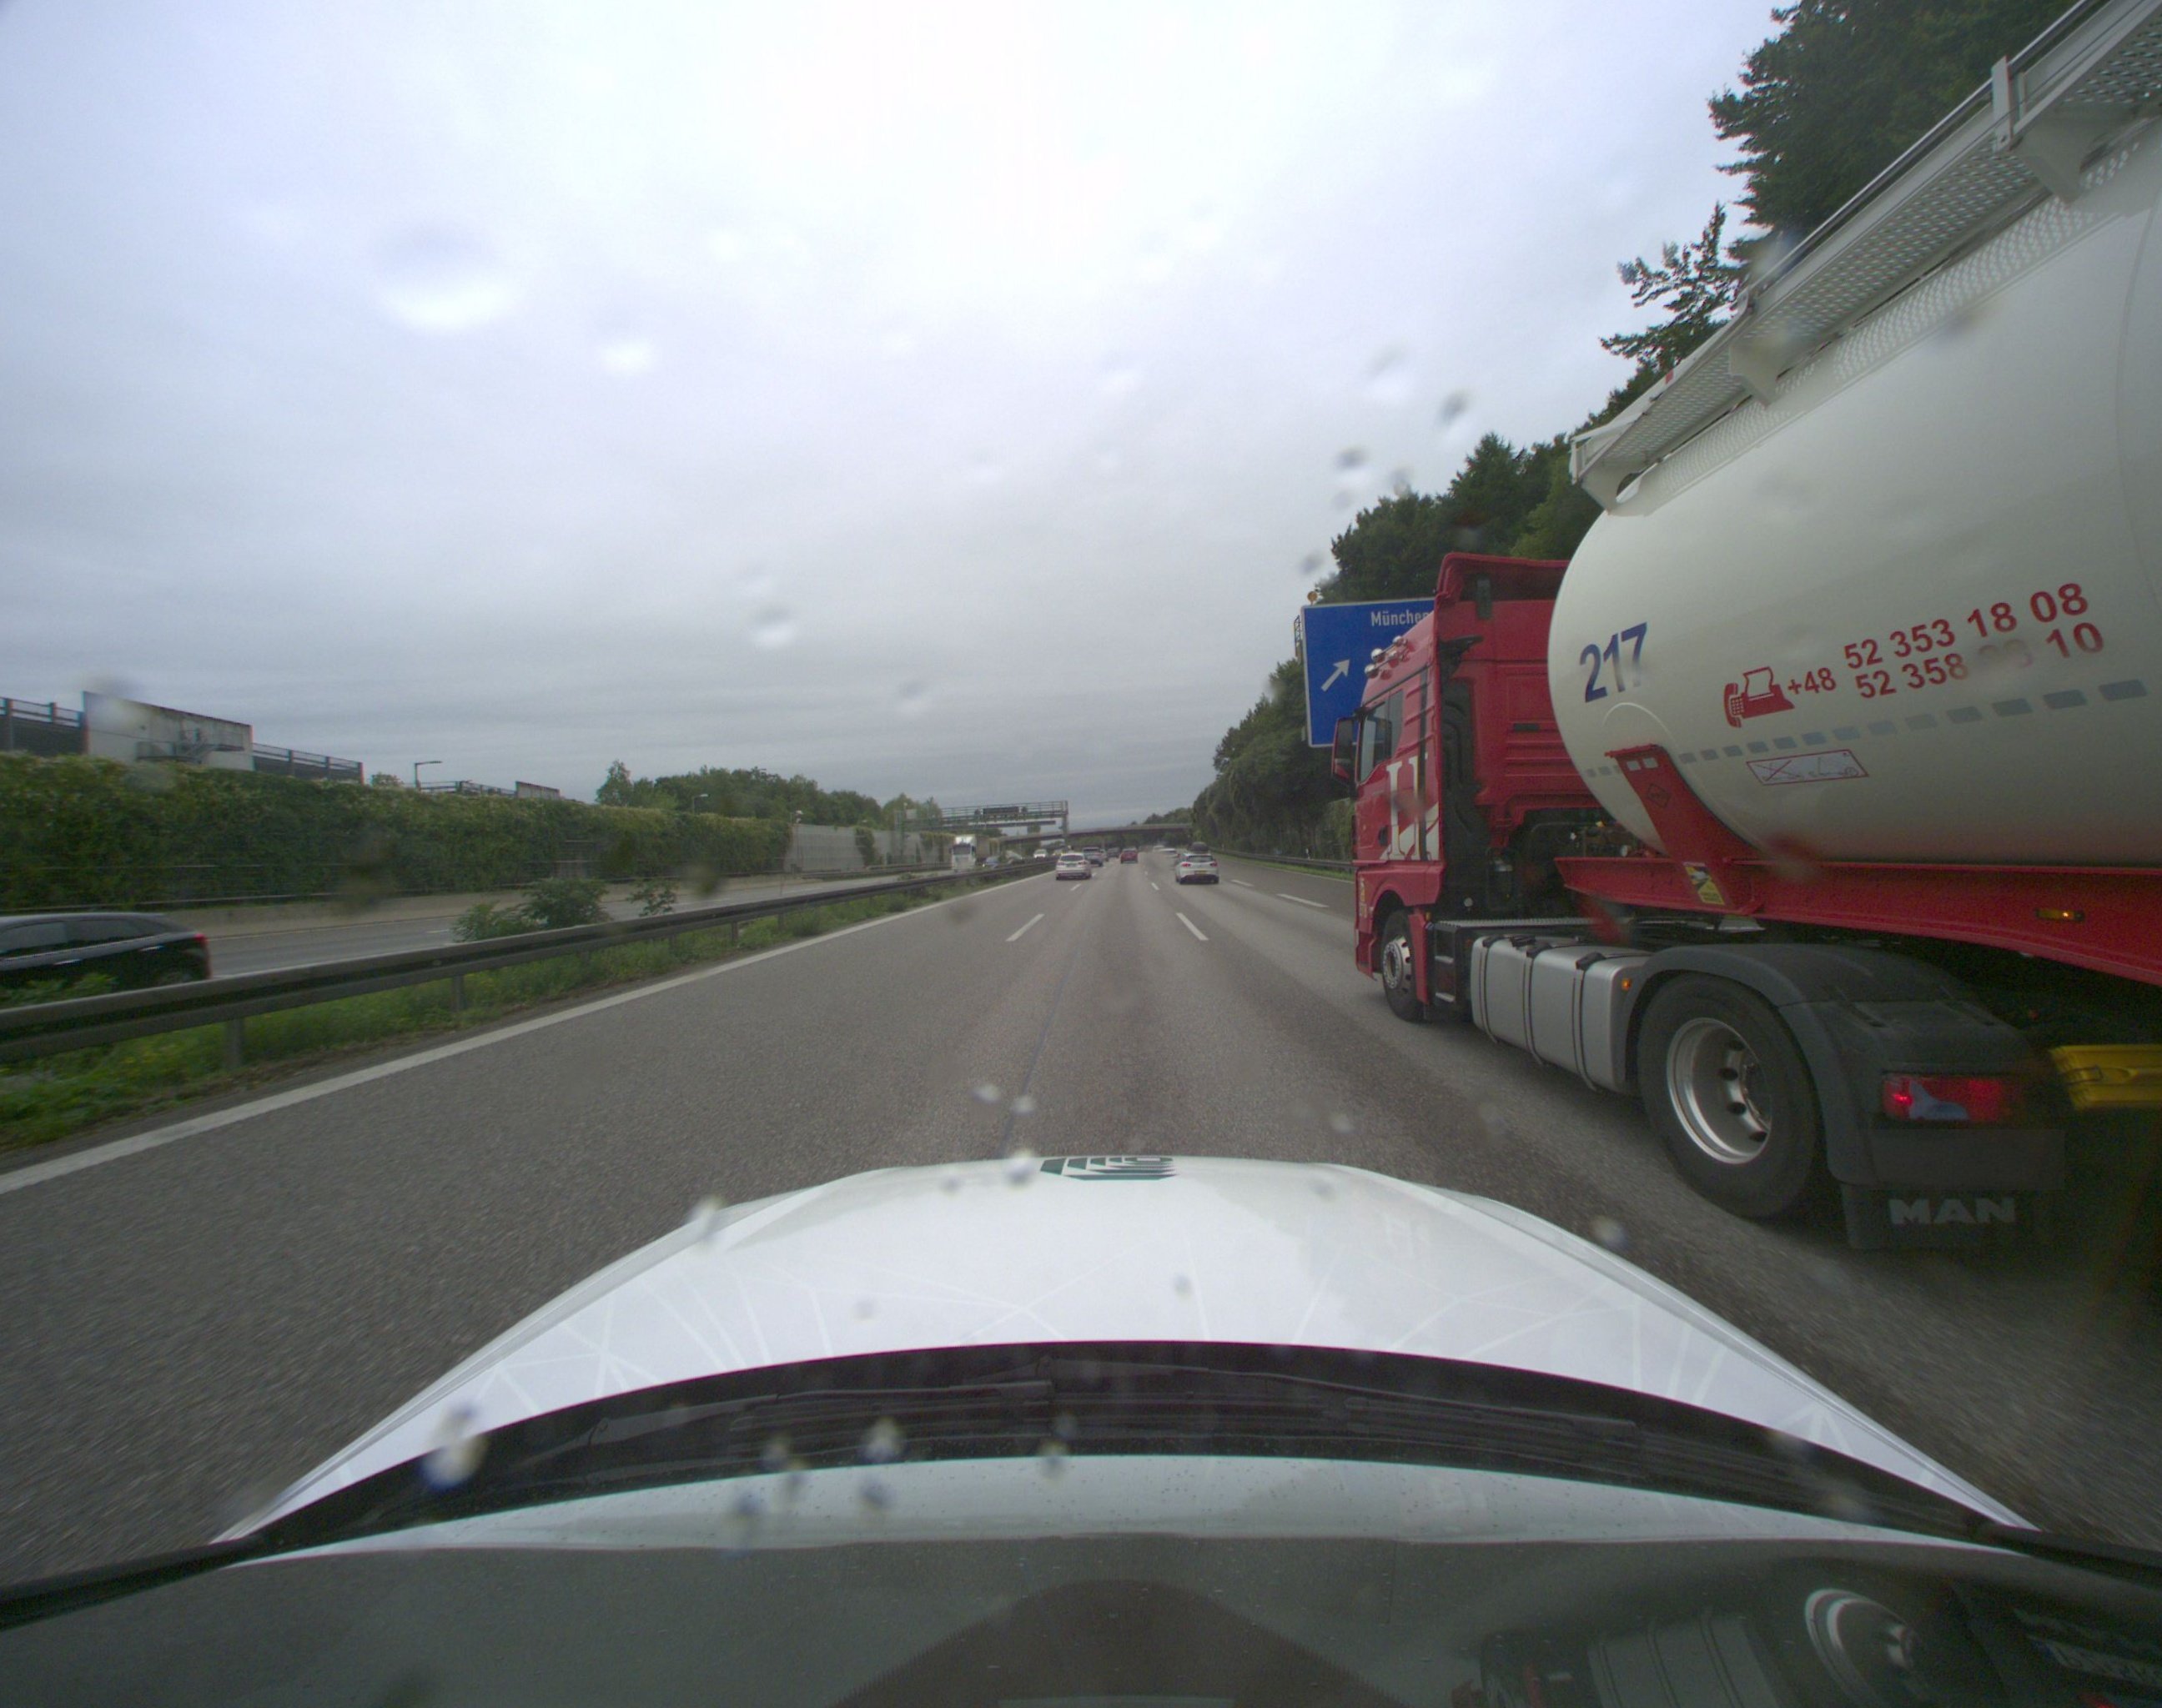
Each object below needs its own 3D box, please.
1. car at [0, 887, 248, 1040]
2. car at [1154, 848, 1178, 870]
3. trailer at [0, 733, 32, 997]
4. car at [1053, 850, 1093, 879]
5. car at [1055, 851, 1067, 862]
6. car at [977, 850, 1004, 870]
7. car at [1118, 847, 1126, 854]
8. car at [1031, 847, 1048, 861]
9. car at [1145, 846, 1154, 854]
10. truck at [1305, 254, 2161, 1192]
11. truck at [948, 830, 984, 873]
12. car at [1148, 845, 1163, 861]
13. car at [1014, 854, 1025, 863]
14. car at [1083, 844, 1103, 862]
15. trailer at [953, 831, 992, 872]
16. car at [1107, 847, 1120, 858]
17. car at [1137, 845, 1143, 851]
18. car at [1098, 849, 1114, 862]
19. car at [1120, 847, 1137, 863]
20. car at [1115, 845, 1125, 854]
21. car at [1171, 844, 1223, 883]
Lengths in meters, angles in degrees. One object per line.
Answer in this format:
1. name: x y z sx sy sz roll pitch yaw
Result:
1. car: -13.853 1.380 10.519 1.986 1.739 4.001 -2 -1 1
2. car: 6.196 0.379 59.542 1.681 1.506 3.876 -2 -1 5
3. trailer: -18.497 0.233 6.229 2.734 4.127 13.696 -2 0 2
4. car: -0.375 0.574 45.614 1.884 1.504 5.033 -1 0 3
5. car: -3.954 0.508 161.554 1.985 2.014 4.003 -2 -1 3
6. car: -9.457 0.616 85.584 1.985 2.014 4.913 -2 -1 3
7. car: 10.091 -0.873 200.731 1.682 1.422 3.875 2 0 3
8. car: -6.364 0.066 124.443 1.985 2.014 4.913 -2 -1 3
9. car: 13.812 -0.791 163.857 1.681 1.539 3.877 -2 0 5
10. truck: 4.029 -0.551 6.715 2.684 3.912 6.559 -2 0 2
11. truck: -12.693 -0.277 90.331 2.637 4.473 5.289 -2 0 4
12. car: 8.690 -0.081 95.016 1.681 1.779 3.877 -2 0 5
13. car: -12.863 0.941 169.667 1.784 1.618 4.003 -2 -1 3
14. car: 1.112 -0.112 74.799 1.682 1.506 3.873 2 1 2
15. trailer: -12.430 -0.309 94.340 2.656 4.444 8.582 -2 0 4
16. car: 4.923 -0.260 123.172 1.681 1.506 3.877 2 1 5
17. car: 15.344 -1.487 212.051 1.681 1.422 4.075 -2 0 3
18. car: 3.109 0.170 101.202 1.681 1.506 3.877 -4 0 5
19. car: 4.979 0.075 85.496 1.681 1.506 3.875 2 1 4
20. car: 7.585 -0.783 159.781 1.681 1.639 3.877 -3 -1 5
21. car: 5.257 0.442 37.560 1.809 1.625 5.033 -2 -1 2
